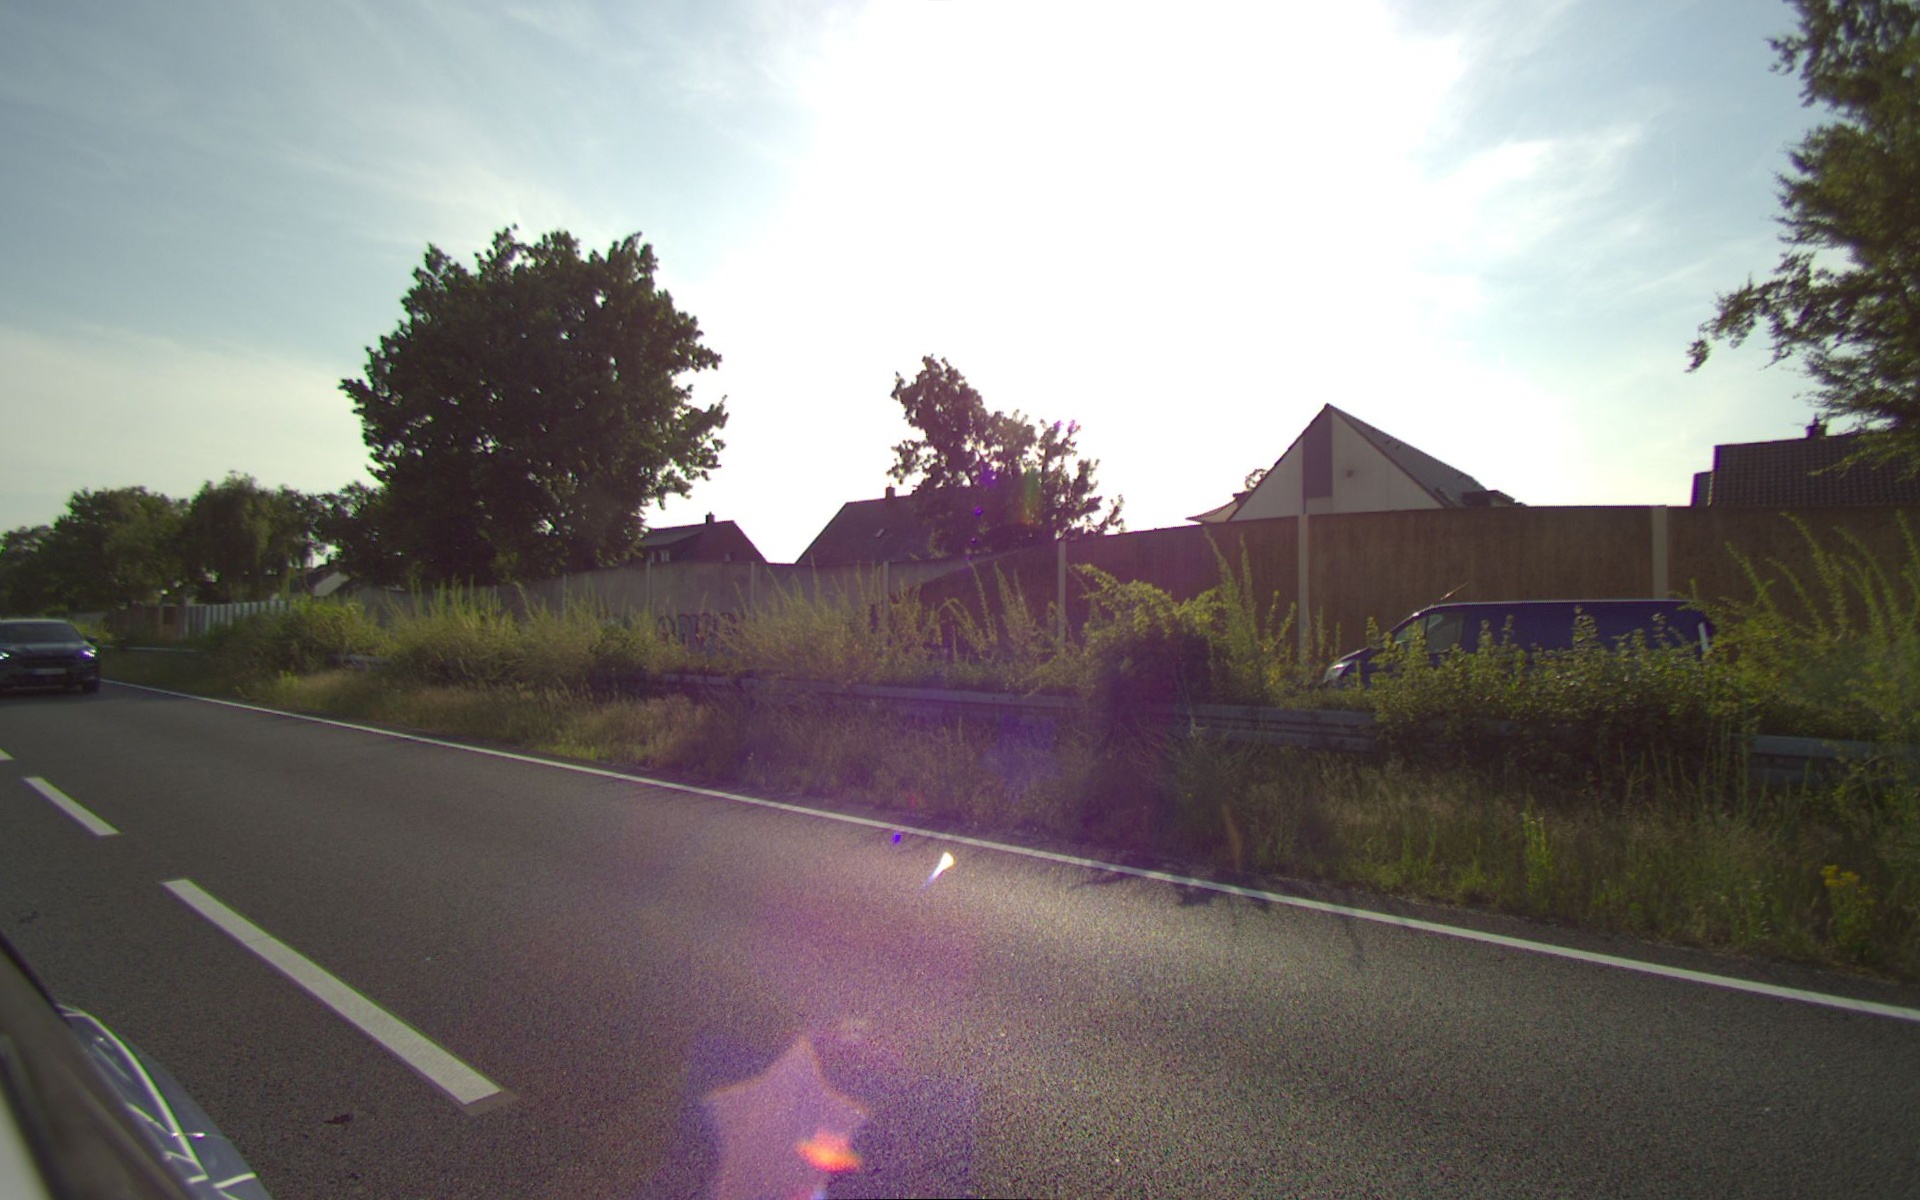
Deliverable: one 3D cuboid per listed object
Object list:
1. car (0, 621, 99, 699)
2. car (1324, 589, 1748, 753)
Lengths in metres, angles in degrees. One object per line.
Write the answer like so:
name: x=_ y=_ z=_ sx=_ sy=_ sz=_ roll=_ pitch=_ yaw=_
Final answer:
car: x=-20.353 y=1.238 z=22.084 sx=4.244 sy=1.536 sz=1.798 roll=-1 pitch=-1 yaw=41
car: x=7.615 y=0.826 z=13.674 sx=4.679 sy=1.837 sz=1.973 roll=-1 pitch=-1 yaw=41
